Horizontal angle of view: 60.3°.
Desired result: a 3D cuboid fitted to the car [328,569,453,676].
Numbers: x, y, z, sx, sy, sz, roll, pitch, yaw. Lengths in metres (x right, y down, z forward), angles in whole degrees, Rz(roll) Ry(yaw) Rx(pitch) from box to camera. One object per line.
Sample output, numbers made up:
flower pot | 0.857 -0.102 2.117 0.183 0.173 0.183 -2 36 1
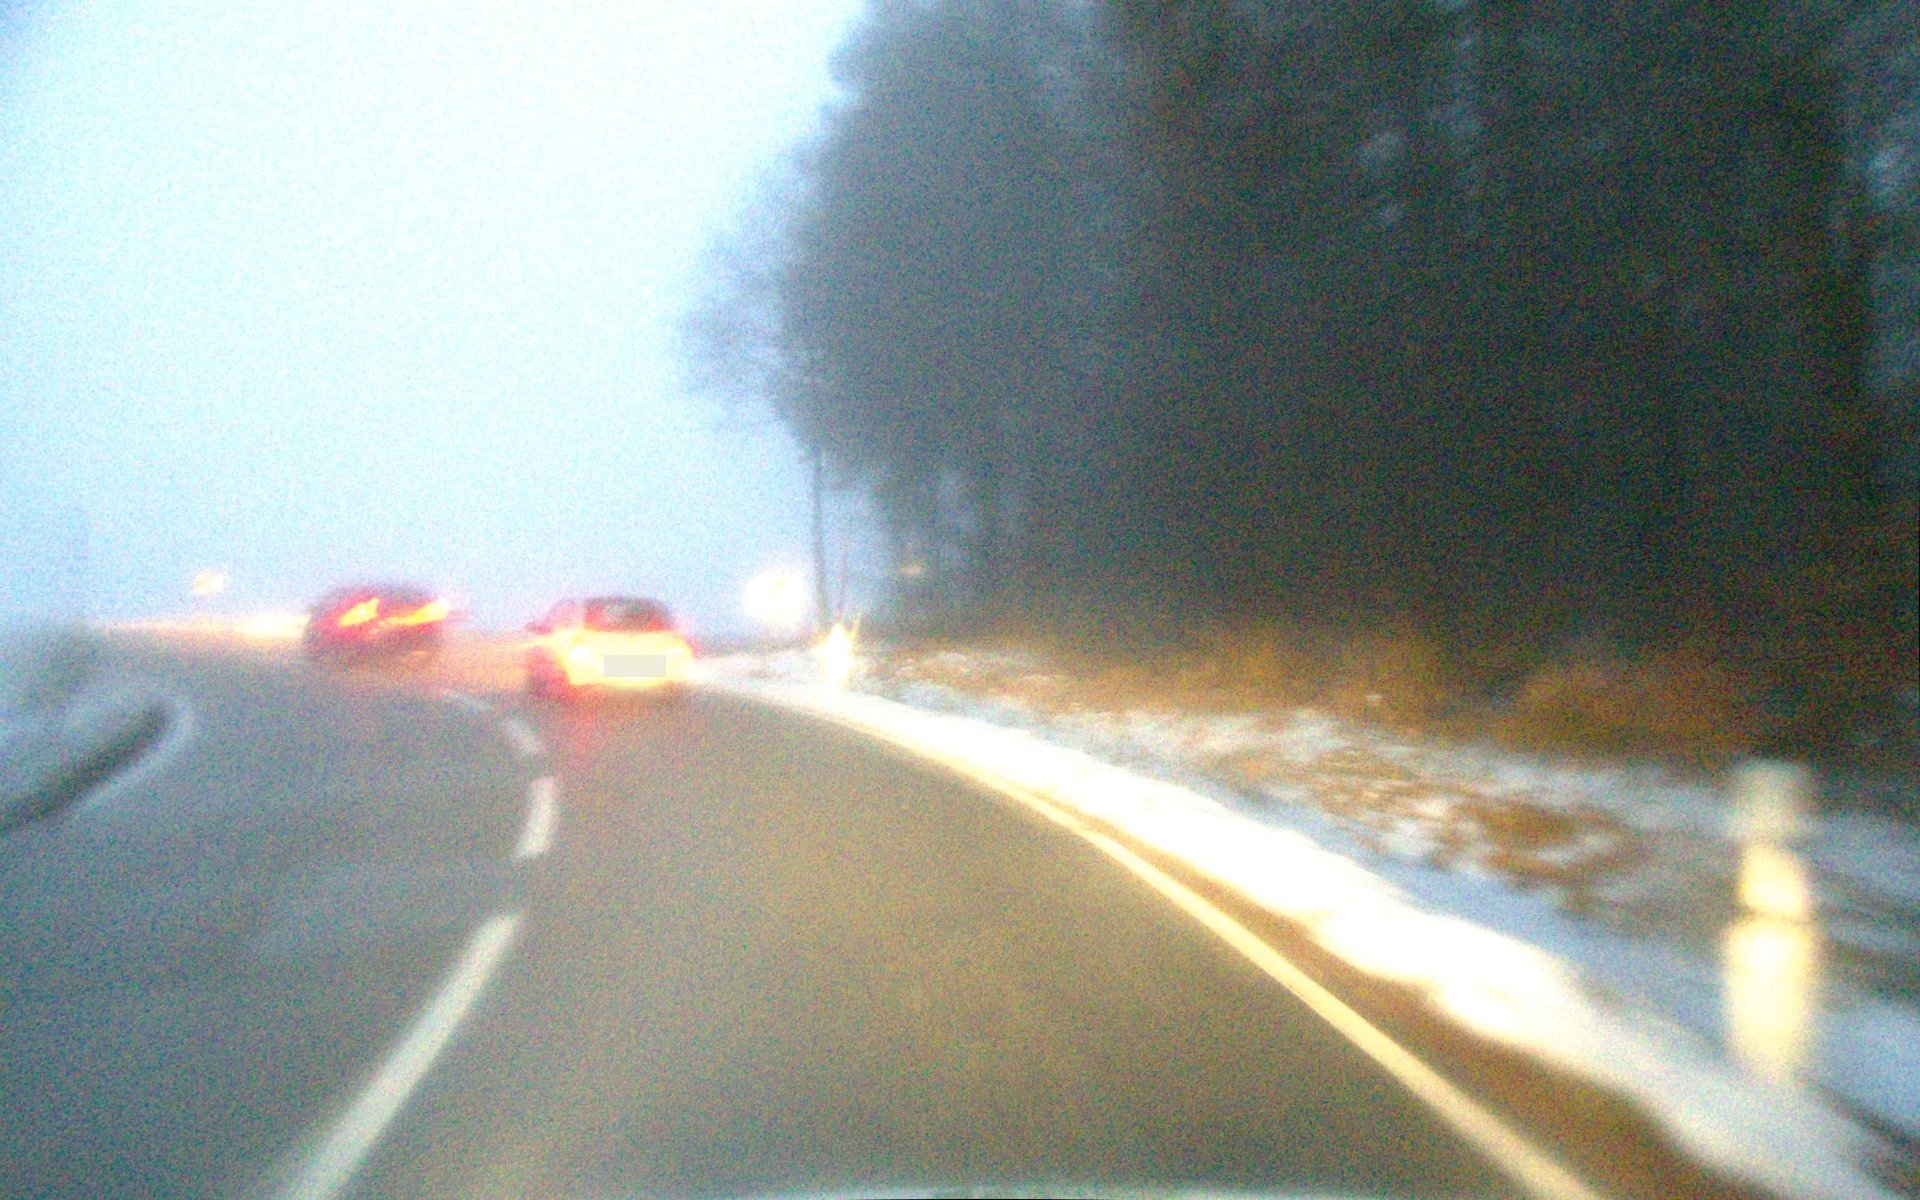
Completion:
car | -11.298 0.393 32.646 1.967 1.813 3.972 4 1 -23

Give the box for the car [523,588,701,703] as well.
car | -4.860 0.546 22.698 1.917 1.405 3.978 0 1 -19
